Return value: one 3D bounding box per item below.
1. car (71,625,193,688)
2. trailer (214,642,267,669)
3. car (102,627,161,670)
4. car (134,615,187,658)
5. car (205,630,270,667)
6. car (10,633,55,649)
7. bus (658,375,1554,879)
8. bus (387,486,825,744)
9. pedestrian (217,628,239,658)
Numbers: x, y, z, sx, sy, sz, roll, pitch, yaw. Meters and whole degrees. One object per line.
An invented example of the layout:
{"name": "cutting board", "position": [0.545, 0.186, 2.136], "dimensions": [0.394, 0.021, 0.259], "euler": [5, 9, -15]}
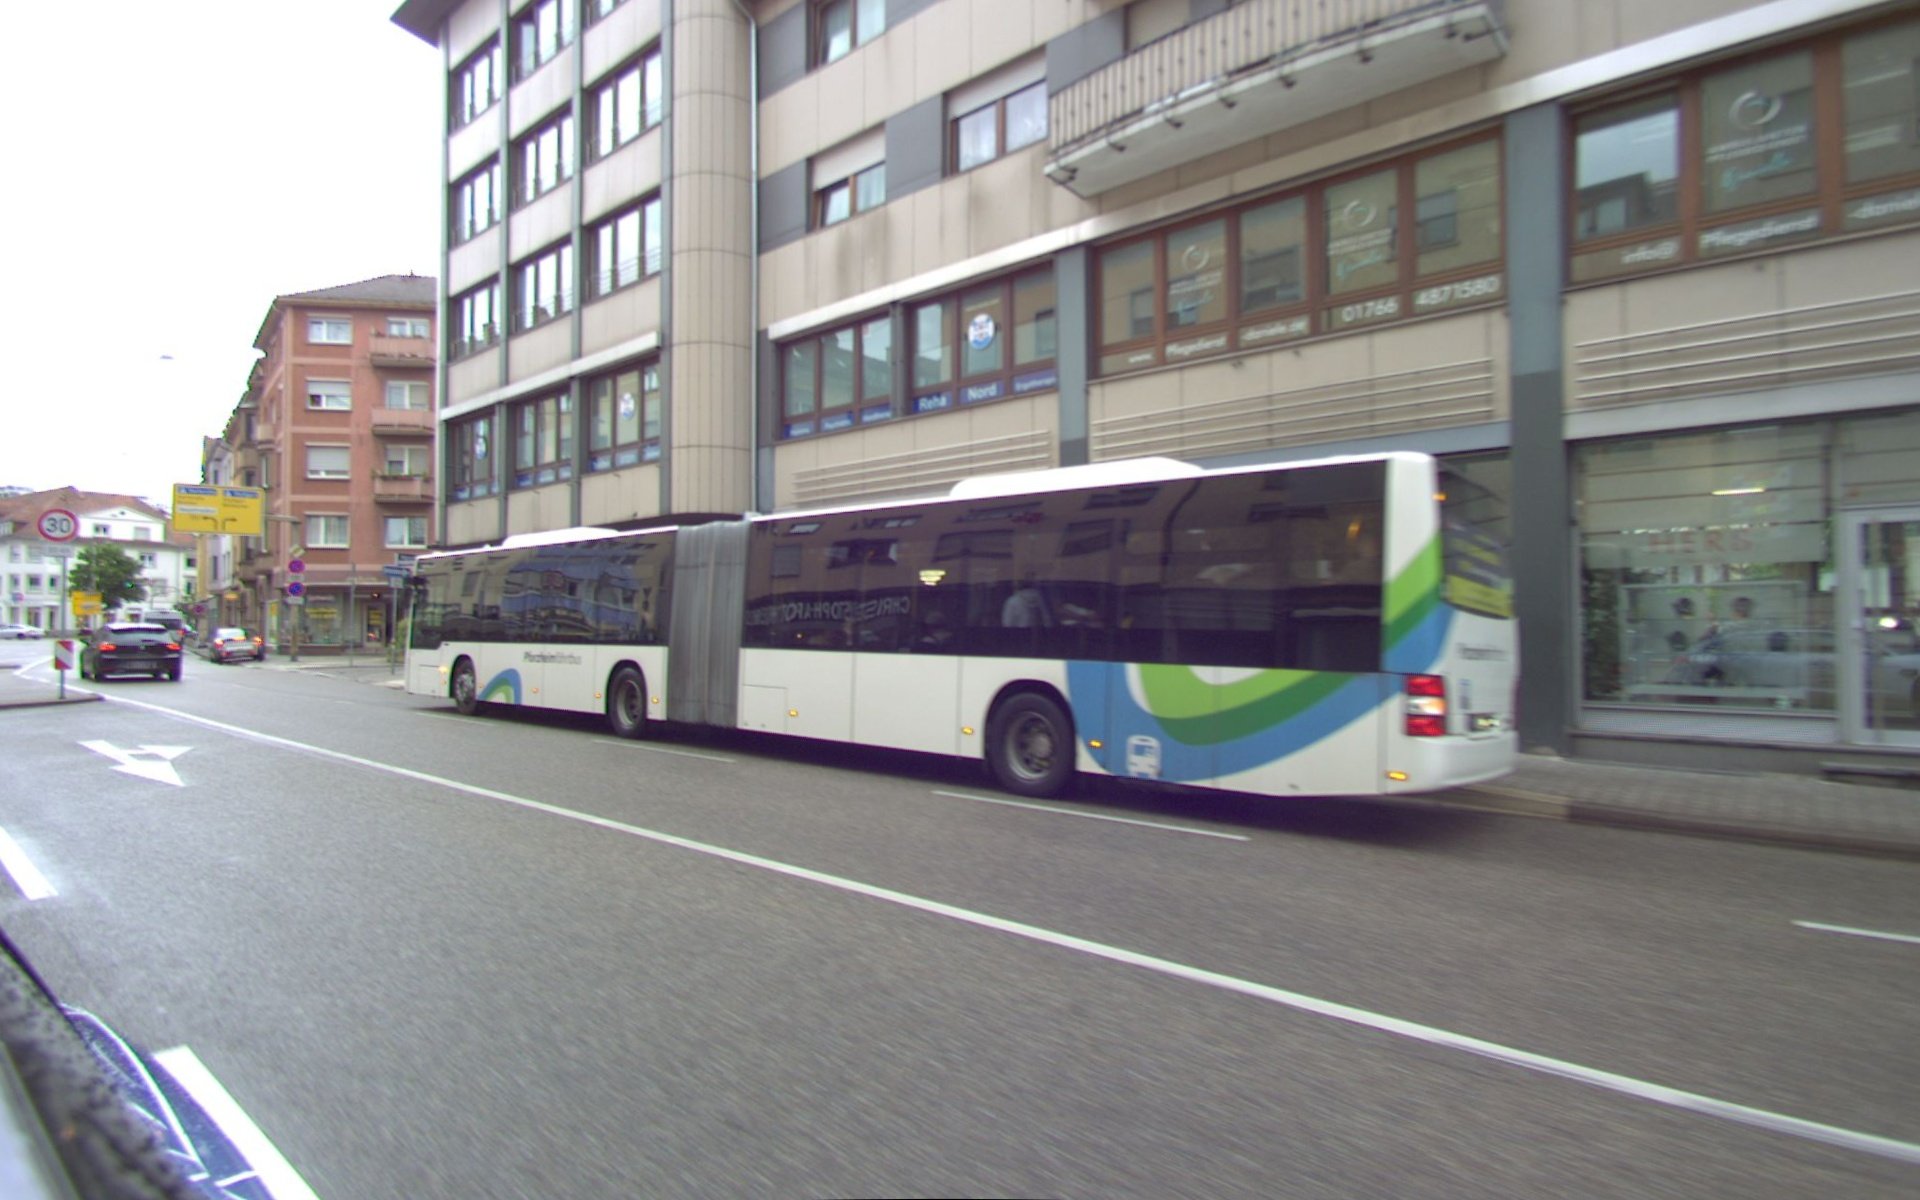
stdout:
{"name": "car", "position": [-21.127, 1.379, 25.781], "dimensions": [4.083, 1.462, 1.691], "euler": [-1, -2, 41]}
{"name": "trailer", "position": [-28.676, 2.180, 40.320], "dimensions": [1.567, 0.956, 3.062], "euler": [0, -1, -38]}
{"name": "car", "position": [-33.982, 1.993, 41.465], "dimensions": [1.721, 1.675, 4.424], "euler": [2, -3, -41]}
{"name": "car", "position": [-48.462, 2.164, 61.310], "dimensions": [2.061, 2.454, 6.360], "euler": [2, -2, -42]}
{"name": "car", "position": [-31.072, 2.038, 43.469], "dimensions": [1.827, 1.408, 4.800], "euler": [-2, 0, -41]}
{"name": "car", "position": [-89.671, 3.906, 97.795], "dimensions": [4.541, 1.481, 1.929], "euler": [-1, -2, 30]}
{"name": "bus", "position": [0.617, 0.258, 10.555], "dimensions": [9.289, 3.213, 2.697], "euler": [-1, -2, 41]}
{"name": "bus", "position": [-6.203, 0.279, 16.590], "dimensions": [8.908, 3.213, 2.729], "euler": [-1, -2, 41]}
{"name": "pedestrian", "position": [-43.568, 2.550, 60.204], "dimensions": [0.852, 1.691, 0.834], "euler": [-1, 0, 37]}
